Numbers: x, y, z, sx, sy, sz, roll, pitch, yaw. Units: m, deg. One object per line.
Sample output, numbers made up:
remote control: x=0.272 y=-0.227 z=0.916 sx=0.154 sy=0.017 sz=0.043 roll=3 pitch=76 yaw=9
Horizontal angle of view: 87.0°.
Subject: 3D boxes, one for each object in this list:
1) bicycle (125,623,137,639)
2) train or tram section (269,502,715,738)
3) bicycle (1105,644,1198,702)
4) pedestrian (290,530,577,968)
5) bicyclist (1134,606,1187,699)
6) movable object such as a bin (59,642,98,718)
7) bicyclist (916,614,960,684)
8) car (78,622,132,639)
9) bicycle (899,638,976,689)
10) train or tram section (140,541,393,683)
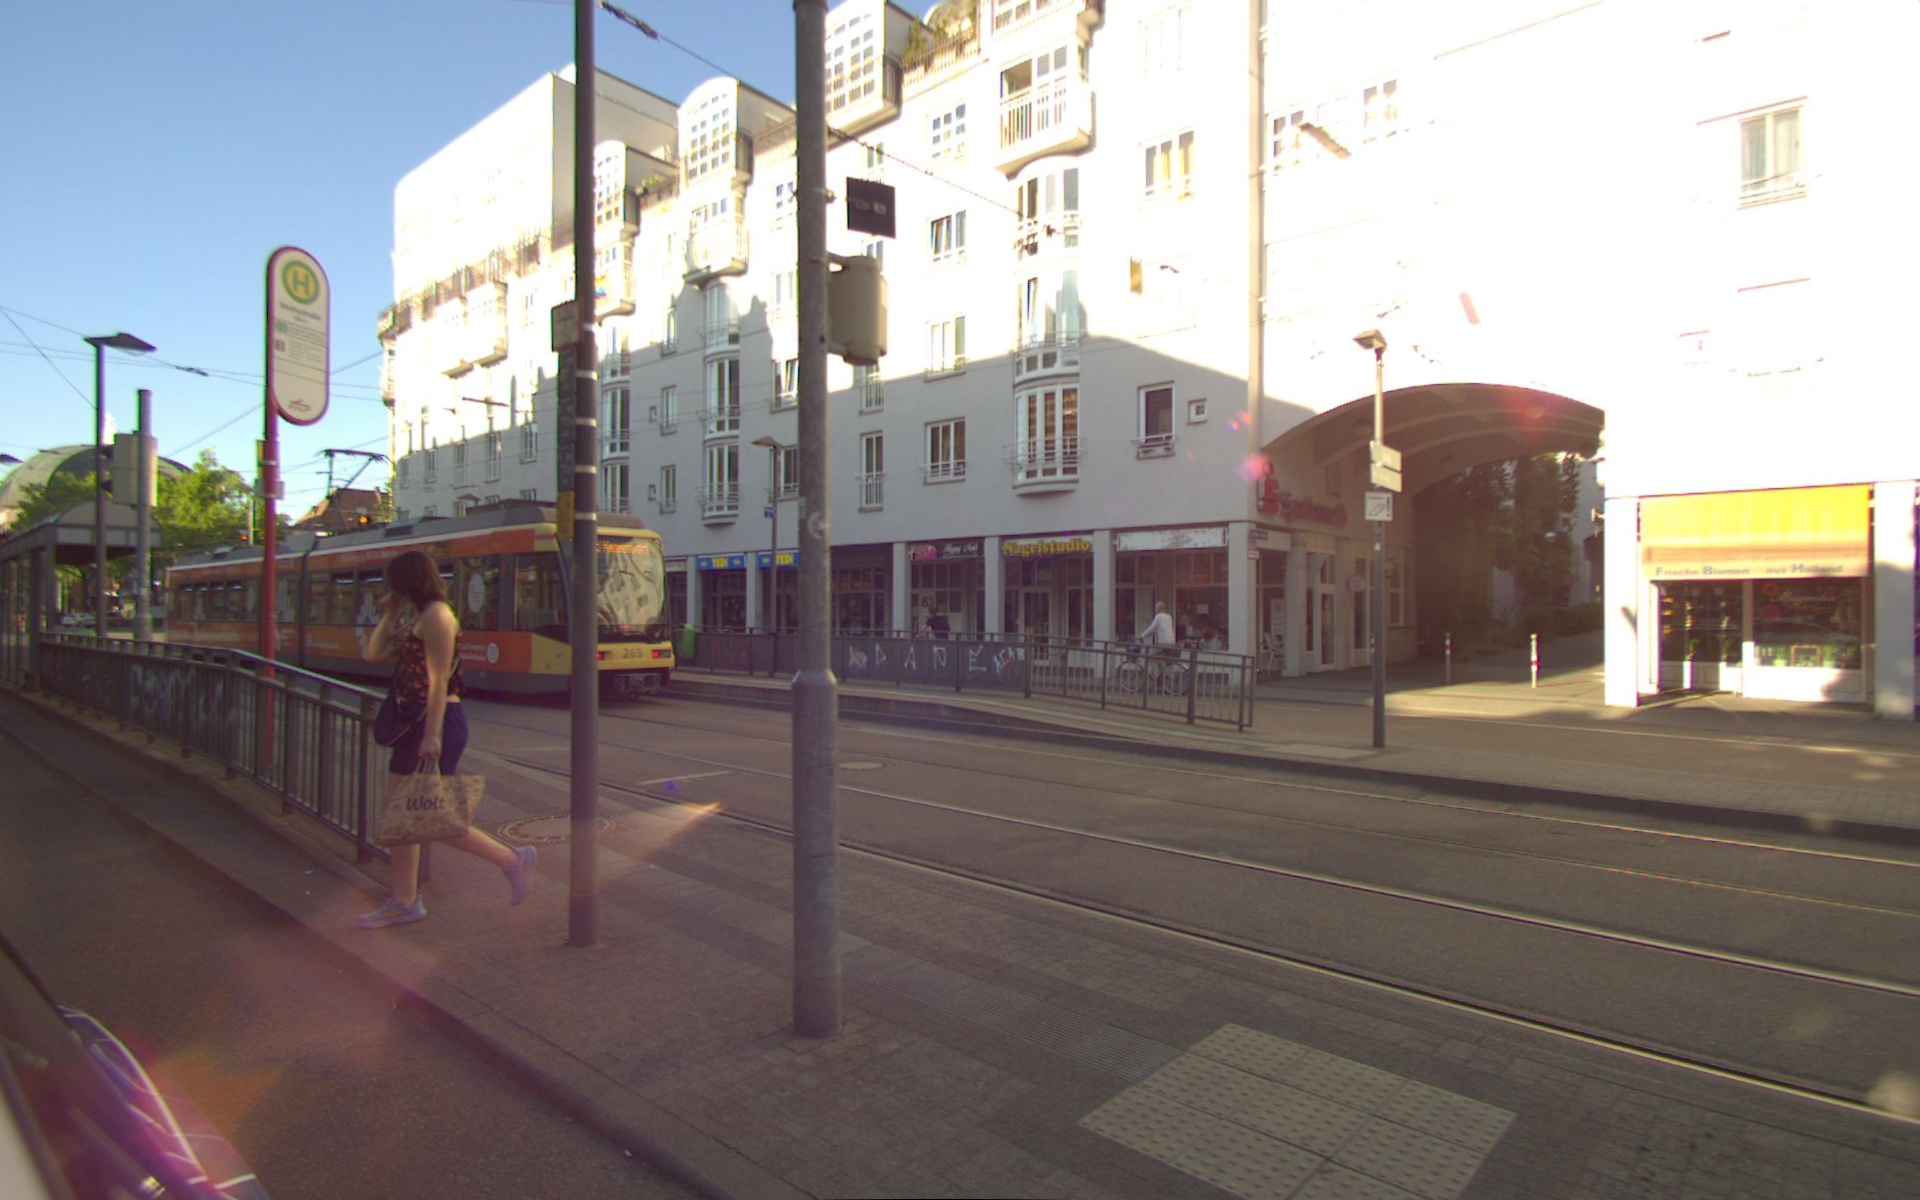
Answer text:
bicycle: x=-68.076 y=2.530 z=83.090 sx=0.574 sy=1.244 sz=1.858 roll=-1 pitch=0 yaw=-44
train or tram section: x=-10.649 y=0.315 z=21.143 sx=14.947 sy=3.516 sz=2.854 roll=0 pitch=0 yaw=42
bicycle: x=3.934 y=1.475 z=20.878 sx=1.799 sy=1.116 sz=0.648 roll=-1 pitch=-2 yaw=42
pedestrian: x=-2.370 y=0.589 z=4.579 sx=0.786 sy=1.727 sz=0.861 roll=-2 pitch=0 yaw=38
bicyclist: x=4.102 y=1.054 z=20.740 sx=0.844 sy=1.849 sz=0.648 roll=-1 pitch=-2 yaw=42
movable object such as a bin: x=-11.525 y=1.031 z=13.232 sx=0.348 sy=0.951 sz=0.530 roll=1 pitch=-2 yaw=-43
bicyclist: x=-0.511 y=1.134 z=23.680 sx=0.719 sy=1.580 sz=0.721 roll=-1 pitch=-2 yaw=41
car: x=-85.151 y=3.021 z=100.835 sx=1.778 sy=1.566 sz=3.989 roll=0 pitch=0 yaw=9
bicycle: x=-0.543 y=1.468 z=23.693 sx=1.799 sy=1.116 sz=0.721 roll=-1 pitch=-2 yaw=42
train or tram section: x=-21.574 y=0.320 z=30.825 sx=14.159 sy=3.516 sz=2.855 roll=0 pitch=0 yaw=41
